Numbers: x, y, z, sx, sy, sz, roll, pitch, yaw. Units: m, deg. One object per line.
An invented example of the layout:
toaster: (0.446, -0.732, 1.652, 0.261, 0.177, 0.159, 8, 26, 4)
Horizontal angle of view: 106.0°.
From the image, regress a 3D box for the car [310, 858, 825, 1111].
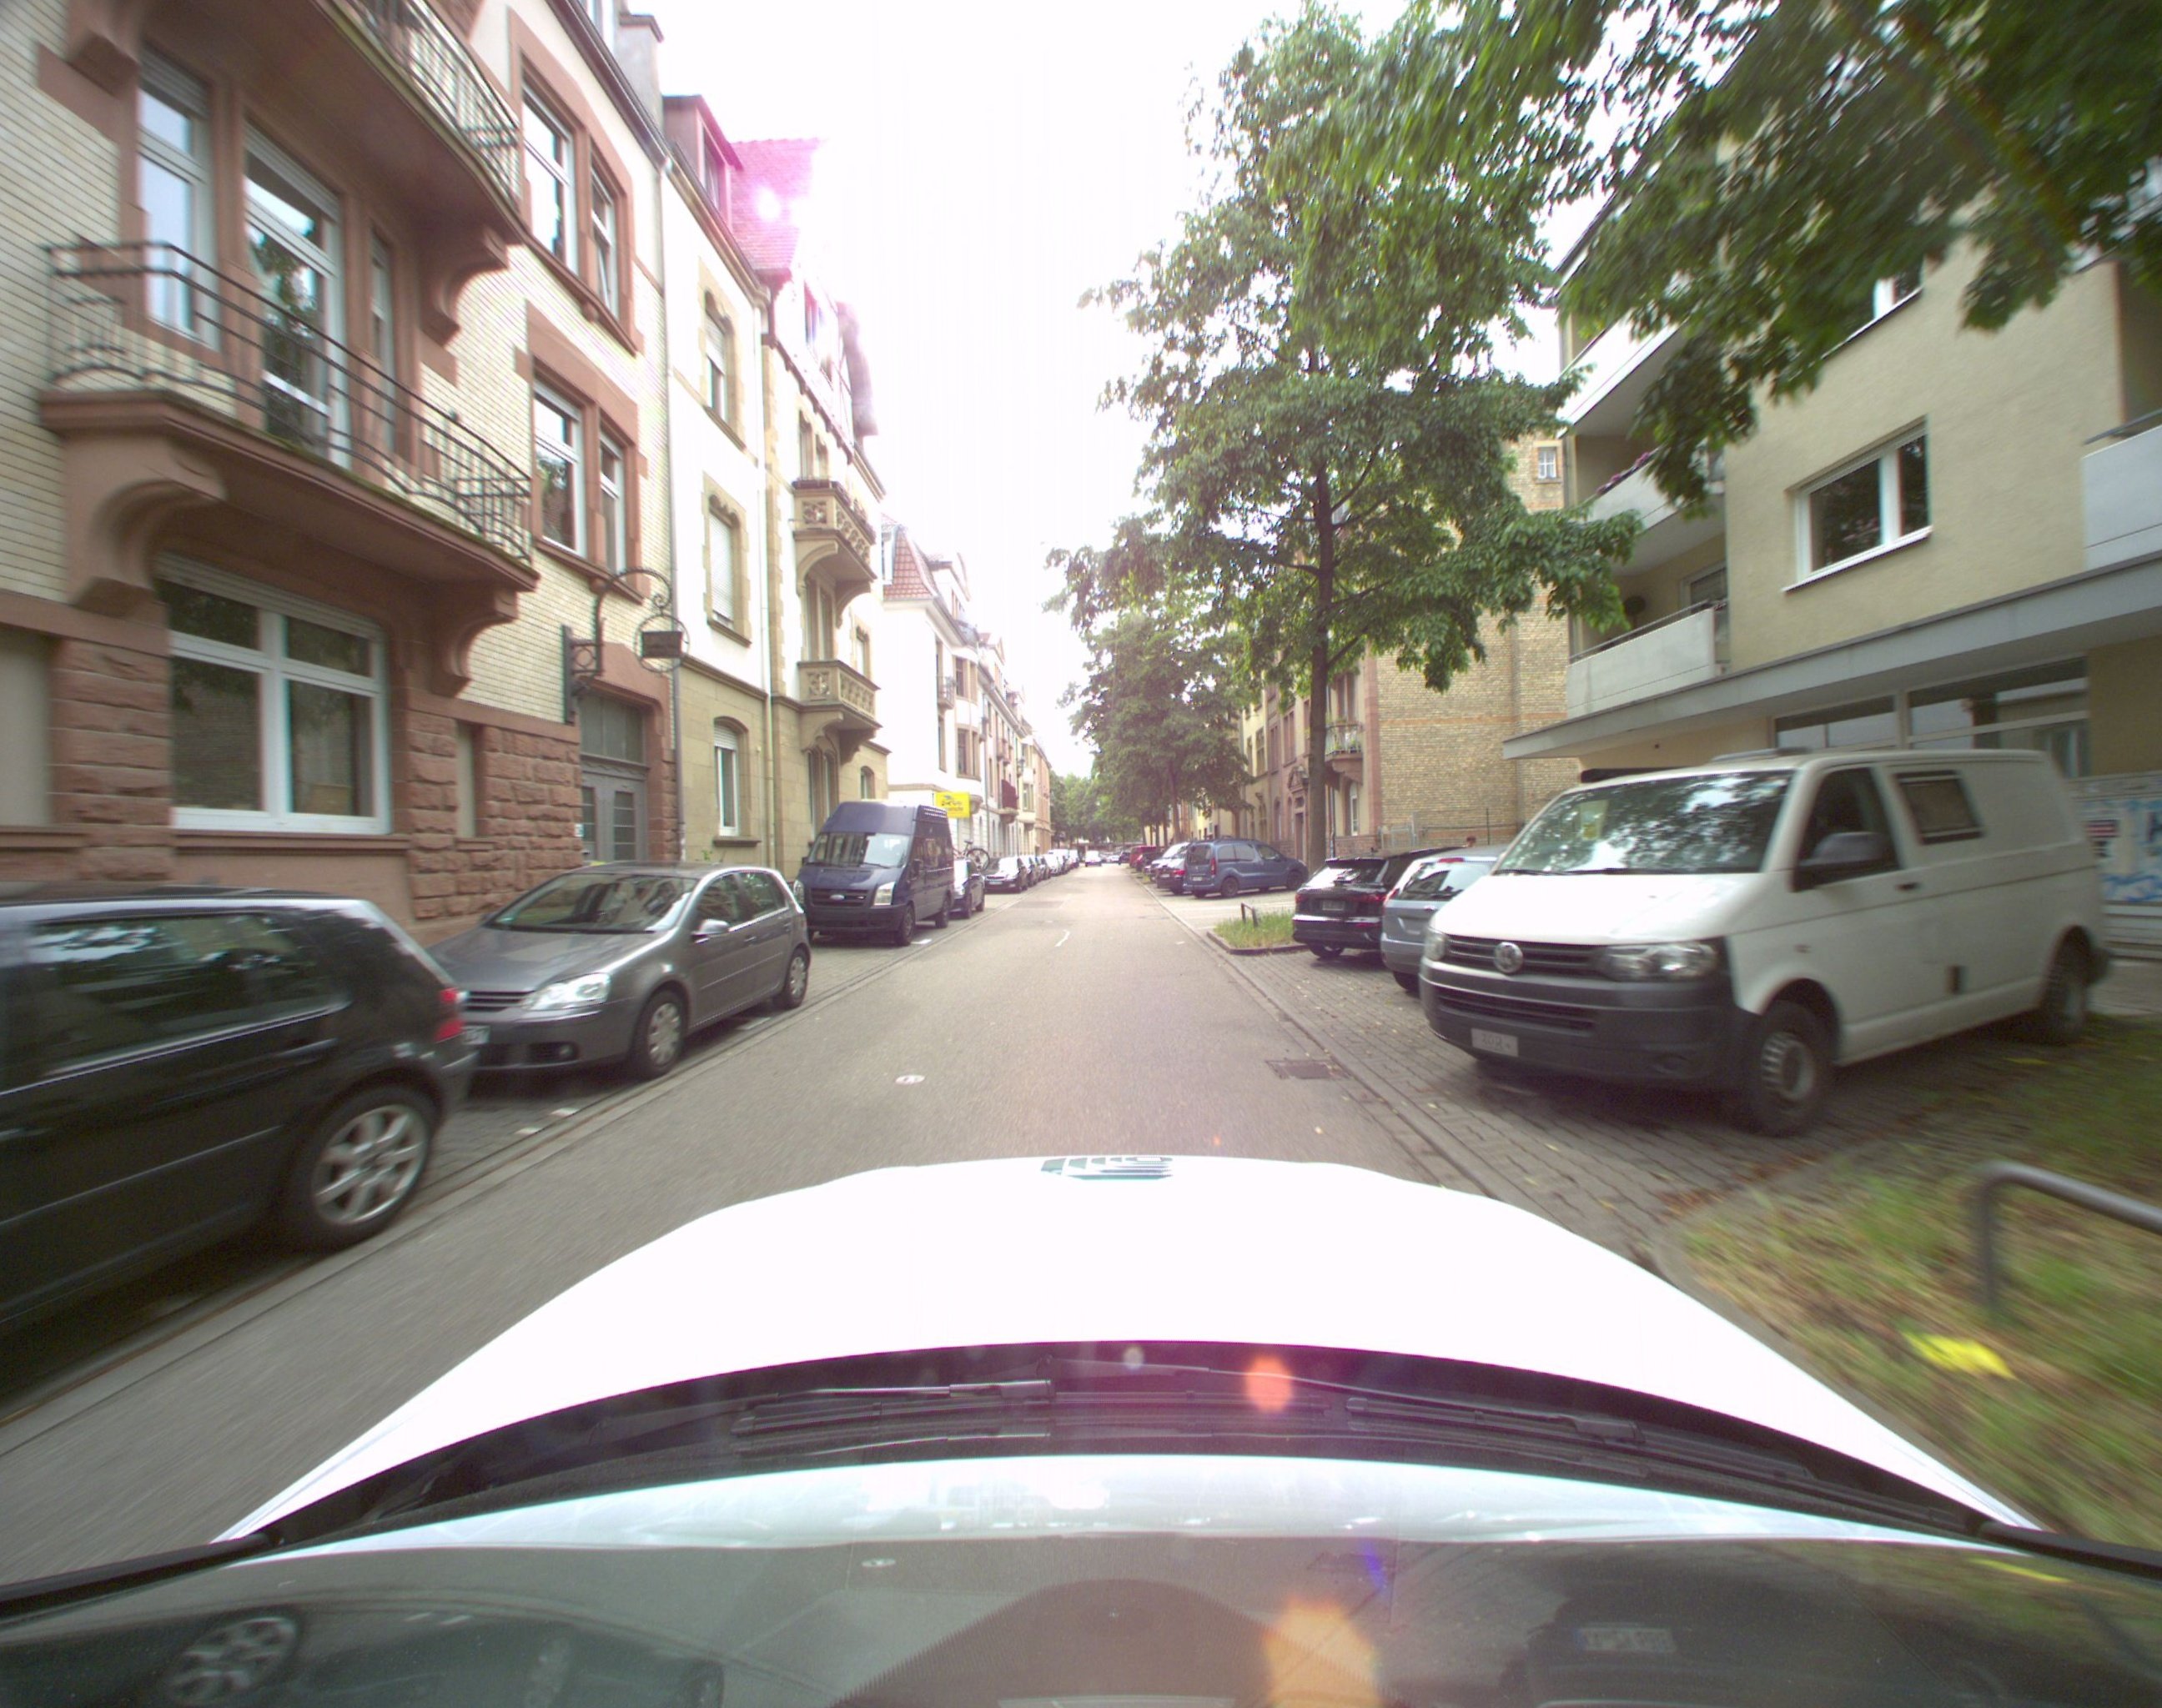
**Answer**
car: (-3.671, 0.780, 6.817, 1.661, 1.473, 4.002, -1, 0, 2)

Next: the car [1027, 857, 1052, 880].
car: (-2.473, 0.838, 48.610, 1.205, 1.309, 3.261, -1, 0, 1)

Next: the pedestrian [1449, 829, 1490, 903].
pedestrian: (8.230, 0.247, 17.252, 0.574, 1.540, 0.581, -1, 0, 1)

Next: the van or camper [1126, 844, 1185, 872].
van or camper: (5.839, 0.291, 63.450, 4.169, 2.085, 1.936, -1, 0, -26)

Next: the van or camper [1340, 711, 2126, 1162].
van or camper: (4.362, 0.279, 5.460, 4.750, 1.994, 1.984, -3, -2, -23)

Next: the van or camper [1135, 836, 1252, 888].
van or camper: (4.940, 0.316, 35.588, 4.804, 2.137, 2.036, -1, 0, -29)

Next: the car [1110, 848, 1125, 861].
car: (5.116, 0.107, 114.805, 1.986, 1.794, 4.001, -1, -1, 1)

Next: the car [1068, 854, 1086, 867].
car: (-0.370, 0.722, 89.207, 1.779, 1.374, 3.889, -1, 0, 2)

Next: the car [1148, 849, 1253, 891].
car: (4.828, 0.630, 32.873, 3.883, 1.499, 1.786, -2, 0, -27)

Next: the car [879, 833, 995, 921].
car: (-3.624, 0.532, 21.493, 1.986, 2.013, 4.893, -1, 0, 2)

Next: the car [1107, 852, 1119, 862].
car: (5.182, 0.492, 133.192, 1.863, 1.628, 4.001, -1, 0, 1)

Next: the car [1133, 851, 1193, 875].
car: (5.388, 0.579, 53.805, 3.753, 1.465, 1.727, -1, 0, -4)

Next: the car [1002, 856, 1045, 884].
car: (-3.030, 0.809, 43.919, 1.940, 1.403, 4.001, 1, 0, 1)

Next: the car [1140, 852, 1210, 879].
car: (5.351, 0.642, 46.491, 3.702, 1.408, 1.573, -2, 0, -4)

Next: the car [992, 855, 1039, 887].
car: (-3.066, 0.775, 38.963, 1.822, 1.426, 3.802, 1, 0, 1)

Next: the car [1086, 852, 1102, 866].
car: (1.471, 0.592, 94.649, 1.814, 1.645, 3.754, -1, -1, 1)

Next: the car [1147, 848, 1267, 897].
car: (4.612, 0.646, 29.742, 4.035, 1.559, 1.867, -2, 0, -29)

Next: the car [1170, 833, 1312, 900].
car: (5.307, 0.387, 26.898, 4.196, 1.869, 1.981, -4, -1, -28)

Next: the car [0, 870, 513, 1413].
car: (-3.767, 0.790, 2.136, 1.628, 1.473, 4.001, -1, -1, 2)

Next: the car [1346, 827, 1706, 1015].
car: (4.624, 0.559, 8.403, 3.435, 1.441, 1.655, -4, 0, -30)

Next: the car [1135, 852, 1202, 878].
car: (5.268, 0.650, 49.187, 3.753, 1.465, 1.727, -1, 0, -4)

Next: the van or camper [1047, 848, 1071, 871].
van or camper: (-1.910, 0.472, 72.609, 1.874, 1.967, 4.409, -1, 0, 2)

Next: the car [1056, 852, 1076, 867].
car: (-1.592, 0.553, 85.225, 1.779, 1.455, 3.889, -5, 0, 2)

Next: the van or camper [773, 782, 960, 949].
van or camper: (-3.825, 0.186, 15.703, 2.000, 2.651, 5.318, 1, 0, 2)

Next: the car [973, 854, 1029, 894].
car: (-3.175, 0.767, 33.106, 1.783, 1.480, 4.023, -1, 0, 1)

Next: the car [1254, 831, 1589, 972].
car: (4.723, 0.542, 11.191, 4.327, 1.392, 1.905, -4, 0, -29)

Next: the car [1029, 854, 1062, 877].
car: (-2.404, 0.755, 56.108, 1.986, 1.475, 4.002, -1, 0, 2)

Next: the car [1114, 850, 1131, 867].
car: (5.121, 0.493, 100.228, 1.986, 2.013, 4.001, 1, 0, 1)

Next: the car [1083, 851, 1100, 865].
car: (1.389, 0.538, 105.035, 1.900, 1.678, 4.004, -1, 0, 3)

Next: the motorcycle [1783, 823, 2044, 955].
motorcycle: (9.497, 0.354, 9.470, 0.675, 1.301, 2.253, -5, 0, 1)
